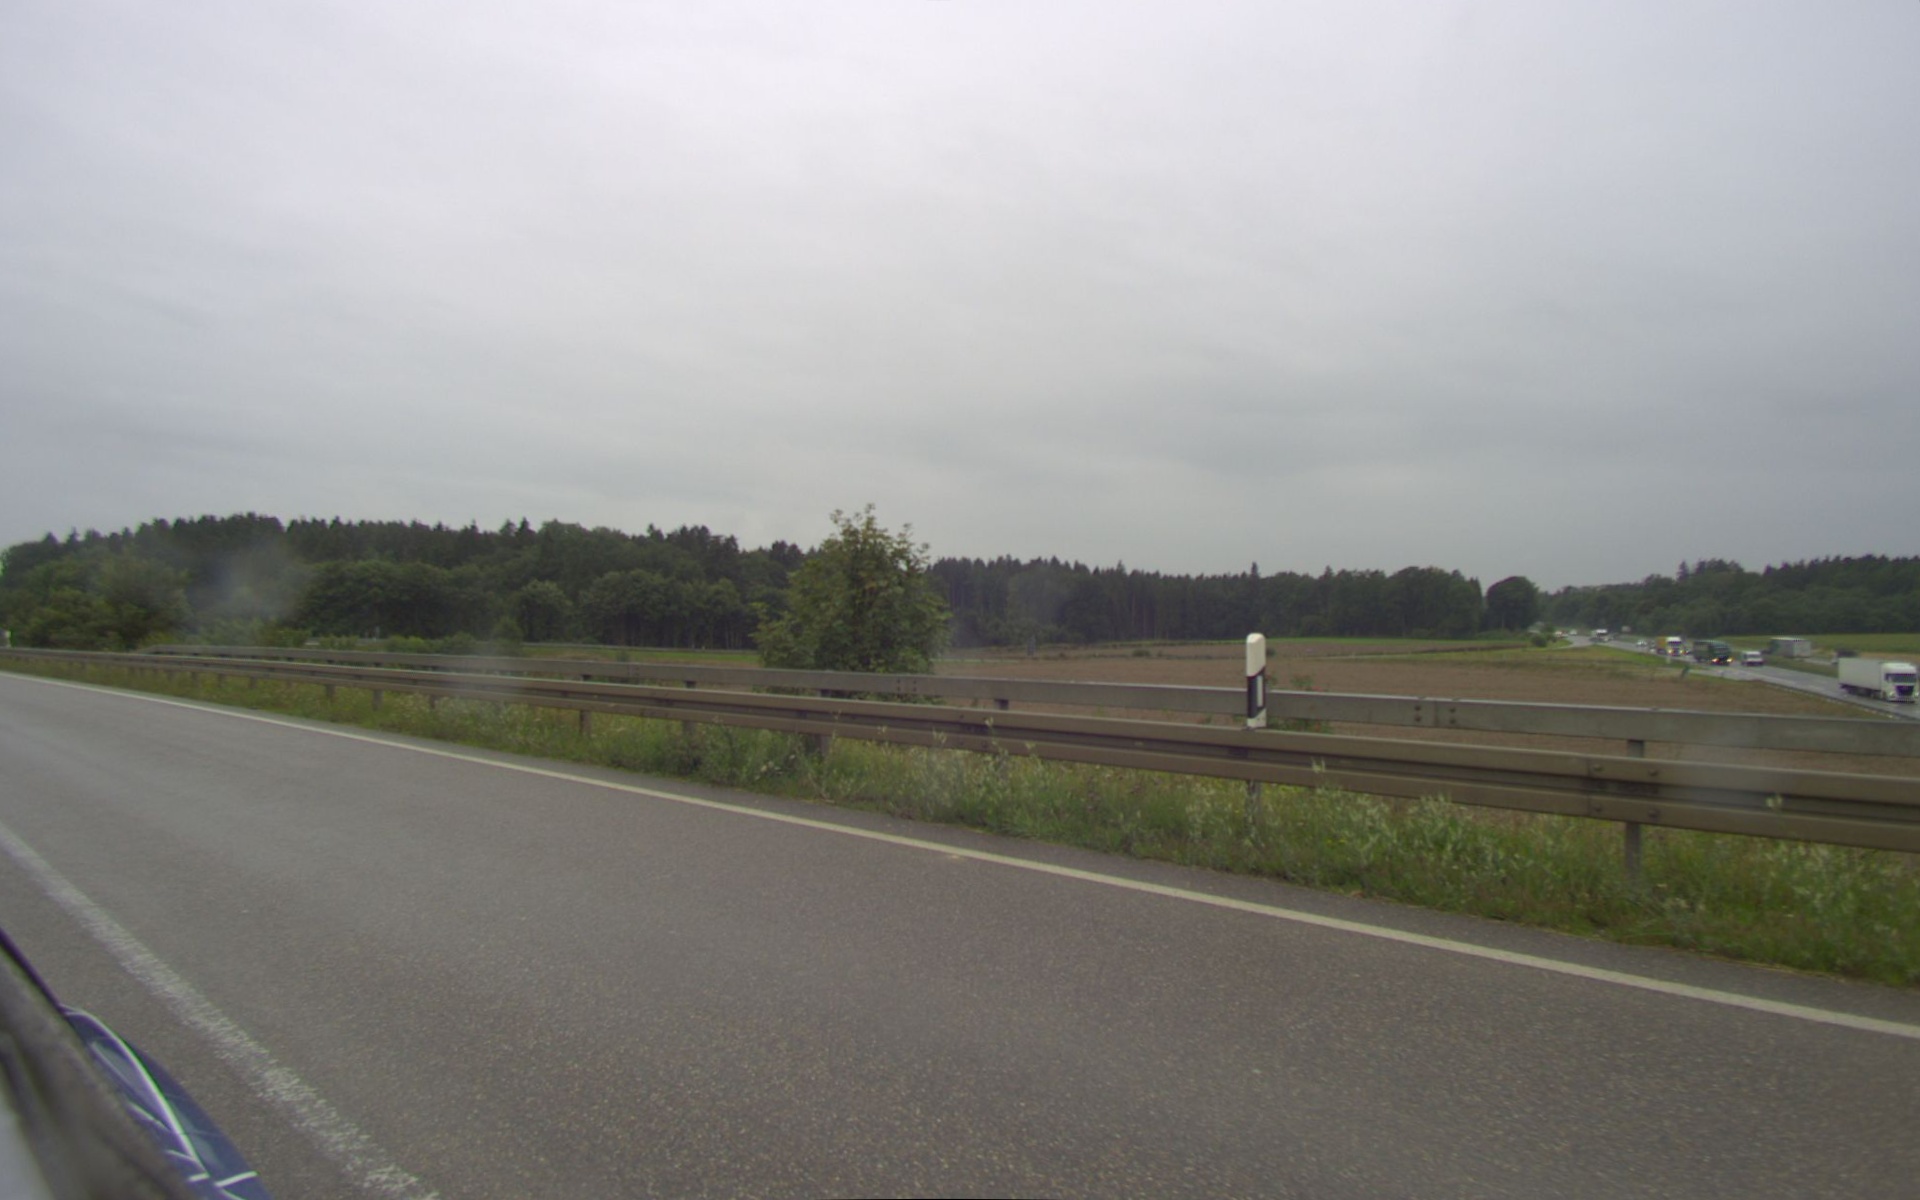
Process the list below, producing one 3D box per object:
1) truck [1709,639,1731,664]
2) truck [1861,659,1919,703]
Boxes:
[{"bbox_3d":[135.356,9.066,180.349,2.233,3.727,9.744,-2,1,33],"label":"truck"},{"bbox_3d":[98.413,8.434,106.685,2.773,3.899,10.541,0,0,28],"label":"truck"}]
